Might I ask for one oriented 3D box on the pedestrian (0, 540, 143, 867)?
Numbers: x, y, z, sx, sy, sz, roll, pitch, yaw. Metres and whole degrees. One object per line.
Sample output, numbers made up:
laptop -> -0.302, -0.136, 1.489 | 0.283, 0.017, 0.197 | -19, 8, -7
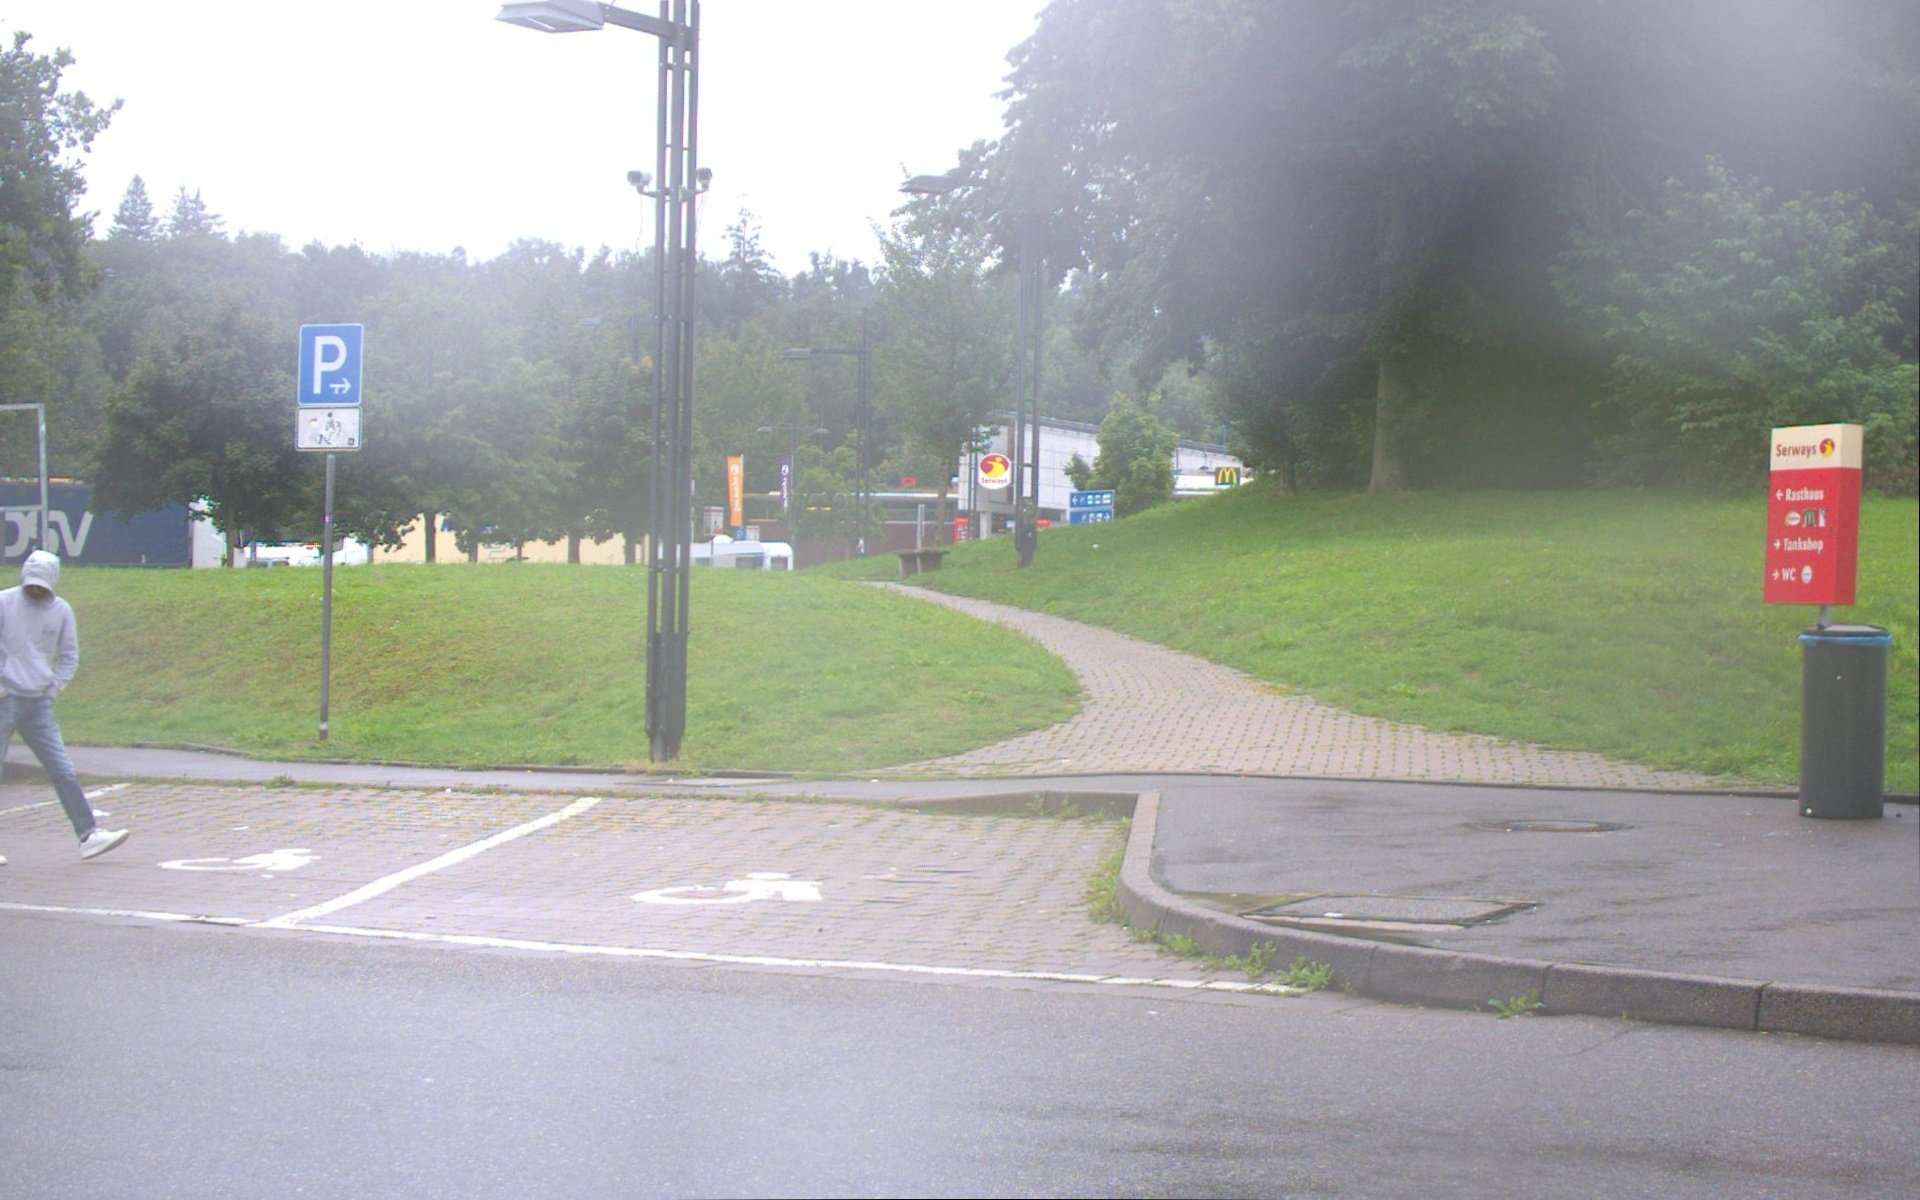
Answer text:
pedestrian -> -4.789, 0.508, 17.584 | 0.951, 1.626, 0.703 | 1, 0, 16

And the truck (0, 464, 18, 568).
truck -> -28.598, -2.350, 94.675 | 2.189, 2.910, 5.380 | 1, 1, 24

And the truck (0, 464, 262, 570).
truck -> -25.460, -2.375, 101.644 | 2.188, 2.910, 13.082 | 1, 1, 24

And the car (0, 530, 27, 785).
car -> -7.802, 0.451, 21.506 | 2.018, 1.705, 4.341 | -1, 1, 12

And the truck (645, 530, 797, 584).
truck -> -9.320, -1.672, 133.821 | 5.413, 2.007, 2.364 | 1, 1, 25
